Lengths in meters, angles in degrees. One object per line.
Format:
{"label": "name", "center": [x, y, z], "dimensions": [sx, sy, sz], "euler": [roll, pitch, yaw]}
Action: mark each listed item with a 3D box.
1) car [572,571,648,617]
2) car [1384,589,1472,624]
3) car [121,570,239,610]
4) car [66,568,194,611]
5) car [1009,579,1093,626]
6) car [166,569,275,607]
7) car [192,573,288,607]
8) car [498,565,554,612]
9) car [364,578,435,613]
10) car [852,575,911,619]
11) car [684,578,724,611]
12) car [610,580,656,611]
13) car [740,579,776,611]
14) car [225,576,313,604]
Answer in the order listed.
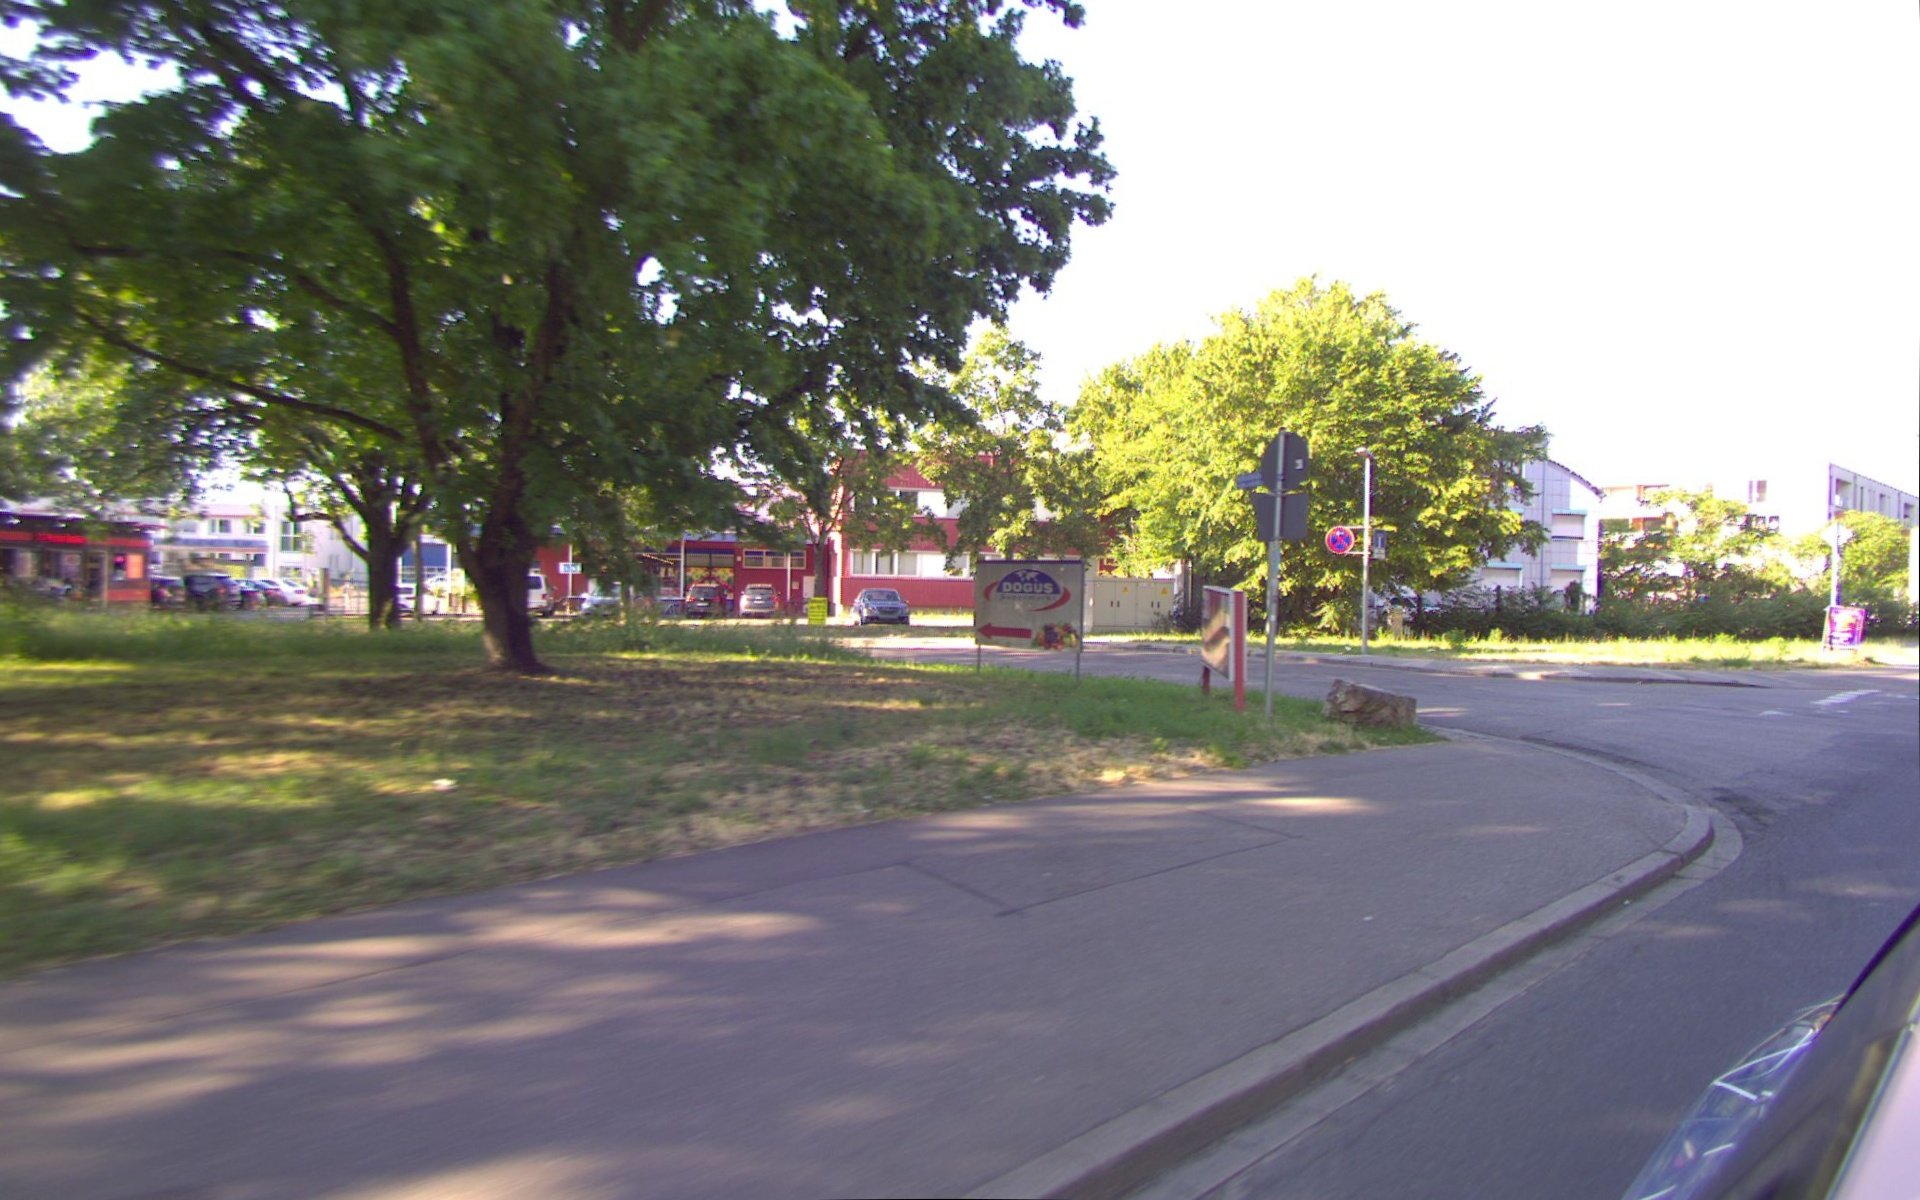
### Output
{"label": "car", "center": [-12.170, -0.177, 35.425], "dimensions": [1.752, 1.495, 4.202], "euler": [0, -1, -8]}
{"label": "car", "center": [23.686, 0.308, 51.388], "dimensions": [1.869, 1.593, 4.010], "euler": [0, 2, -15]}
{"label": "car", "center": [-34.502, -0.440, 44.832], "dimensions": [3.786, 1.710, 1.704], "euler": [0, -1, -7]}
{"label": "car", "center": [-34.343, -0.422, 41.971], "dimensions": [3.786, 1.710, 1.704], "euler": [0, -1, -7]}
{"label": "car", "center": [3.249, 0.063, 37.046], "dimensions": [1.959, 1.614, 4.453], "euler": [0, 0, -10]}
{"label": "car", "center": [-34.728, -0.544, 47.579], "dimensions": [3.786, 1.710, 1.704], "euler": [0, -1, -7]}
{"label": "car", "center": [-36.696, -0.513, 51.644], "dimensions": [3.573, 1.710, 1.704], "euler": [0, -1, -7]}
{"label": "car", "center": [-19.830, -0.485, 46.356], "dimensions": [1.852, 2.000, 4.656], "euler": [0, -1, -17]}
{"label": "car", "center": [-25.060, -0.171, 45.390], "dimensions": [1.650, 1.501, 3.951], "euler": [0, -1, -11]}
{"label": "car", "center": [-2.955, -0.071, 37.342], "dimensions": [1.752, 1.495, 4.675], "euler": [0, -1, -10]}
{"label": "car", "center": [-12.412, -0.238, 49.257], "dimensions": [1.650, 1.521, 3.558], "euler": [0, -1, -11]}
{"label": "car", "center": [-15.371, -0.199, 47.684], "dimensions": [1.650, 1.368, 3.558], "euler": [0, -1, -11]}
{"label": "car", "center": [-9.748, -0.220, 48.995], "dimensions": [1.650, 1.444, 3.558], "euler": [0, -1, -11]}
{"label": "car", "center": [-37.412, -0.523, 54.841], "dimensions": [3.573, 1.481, 1.704], "euler": [0, -1, -7]}
